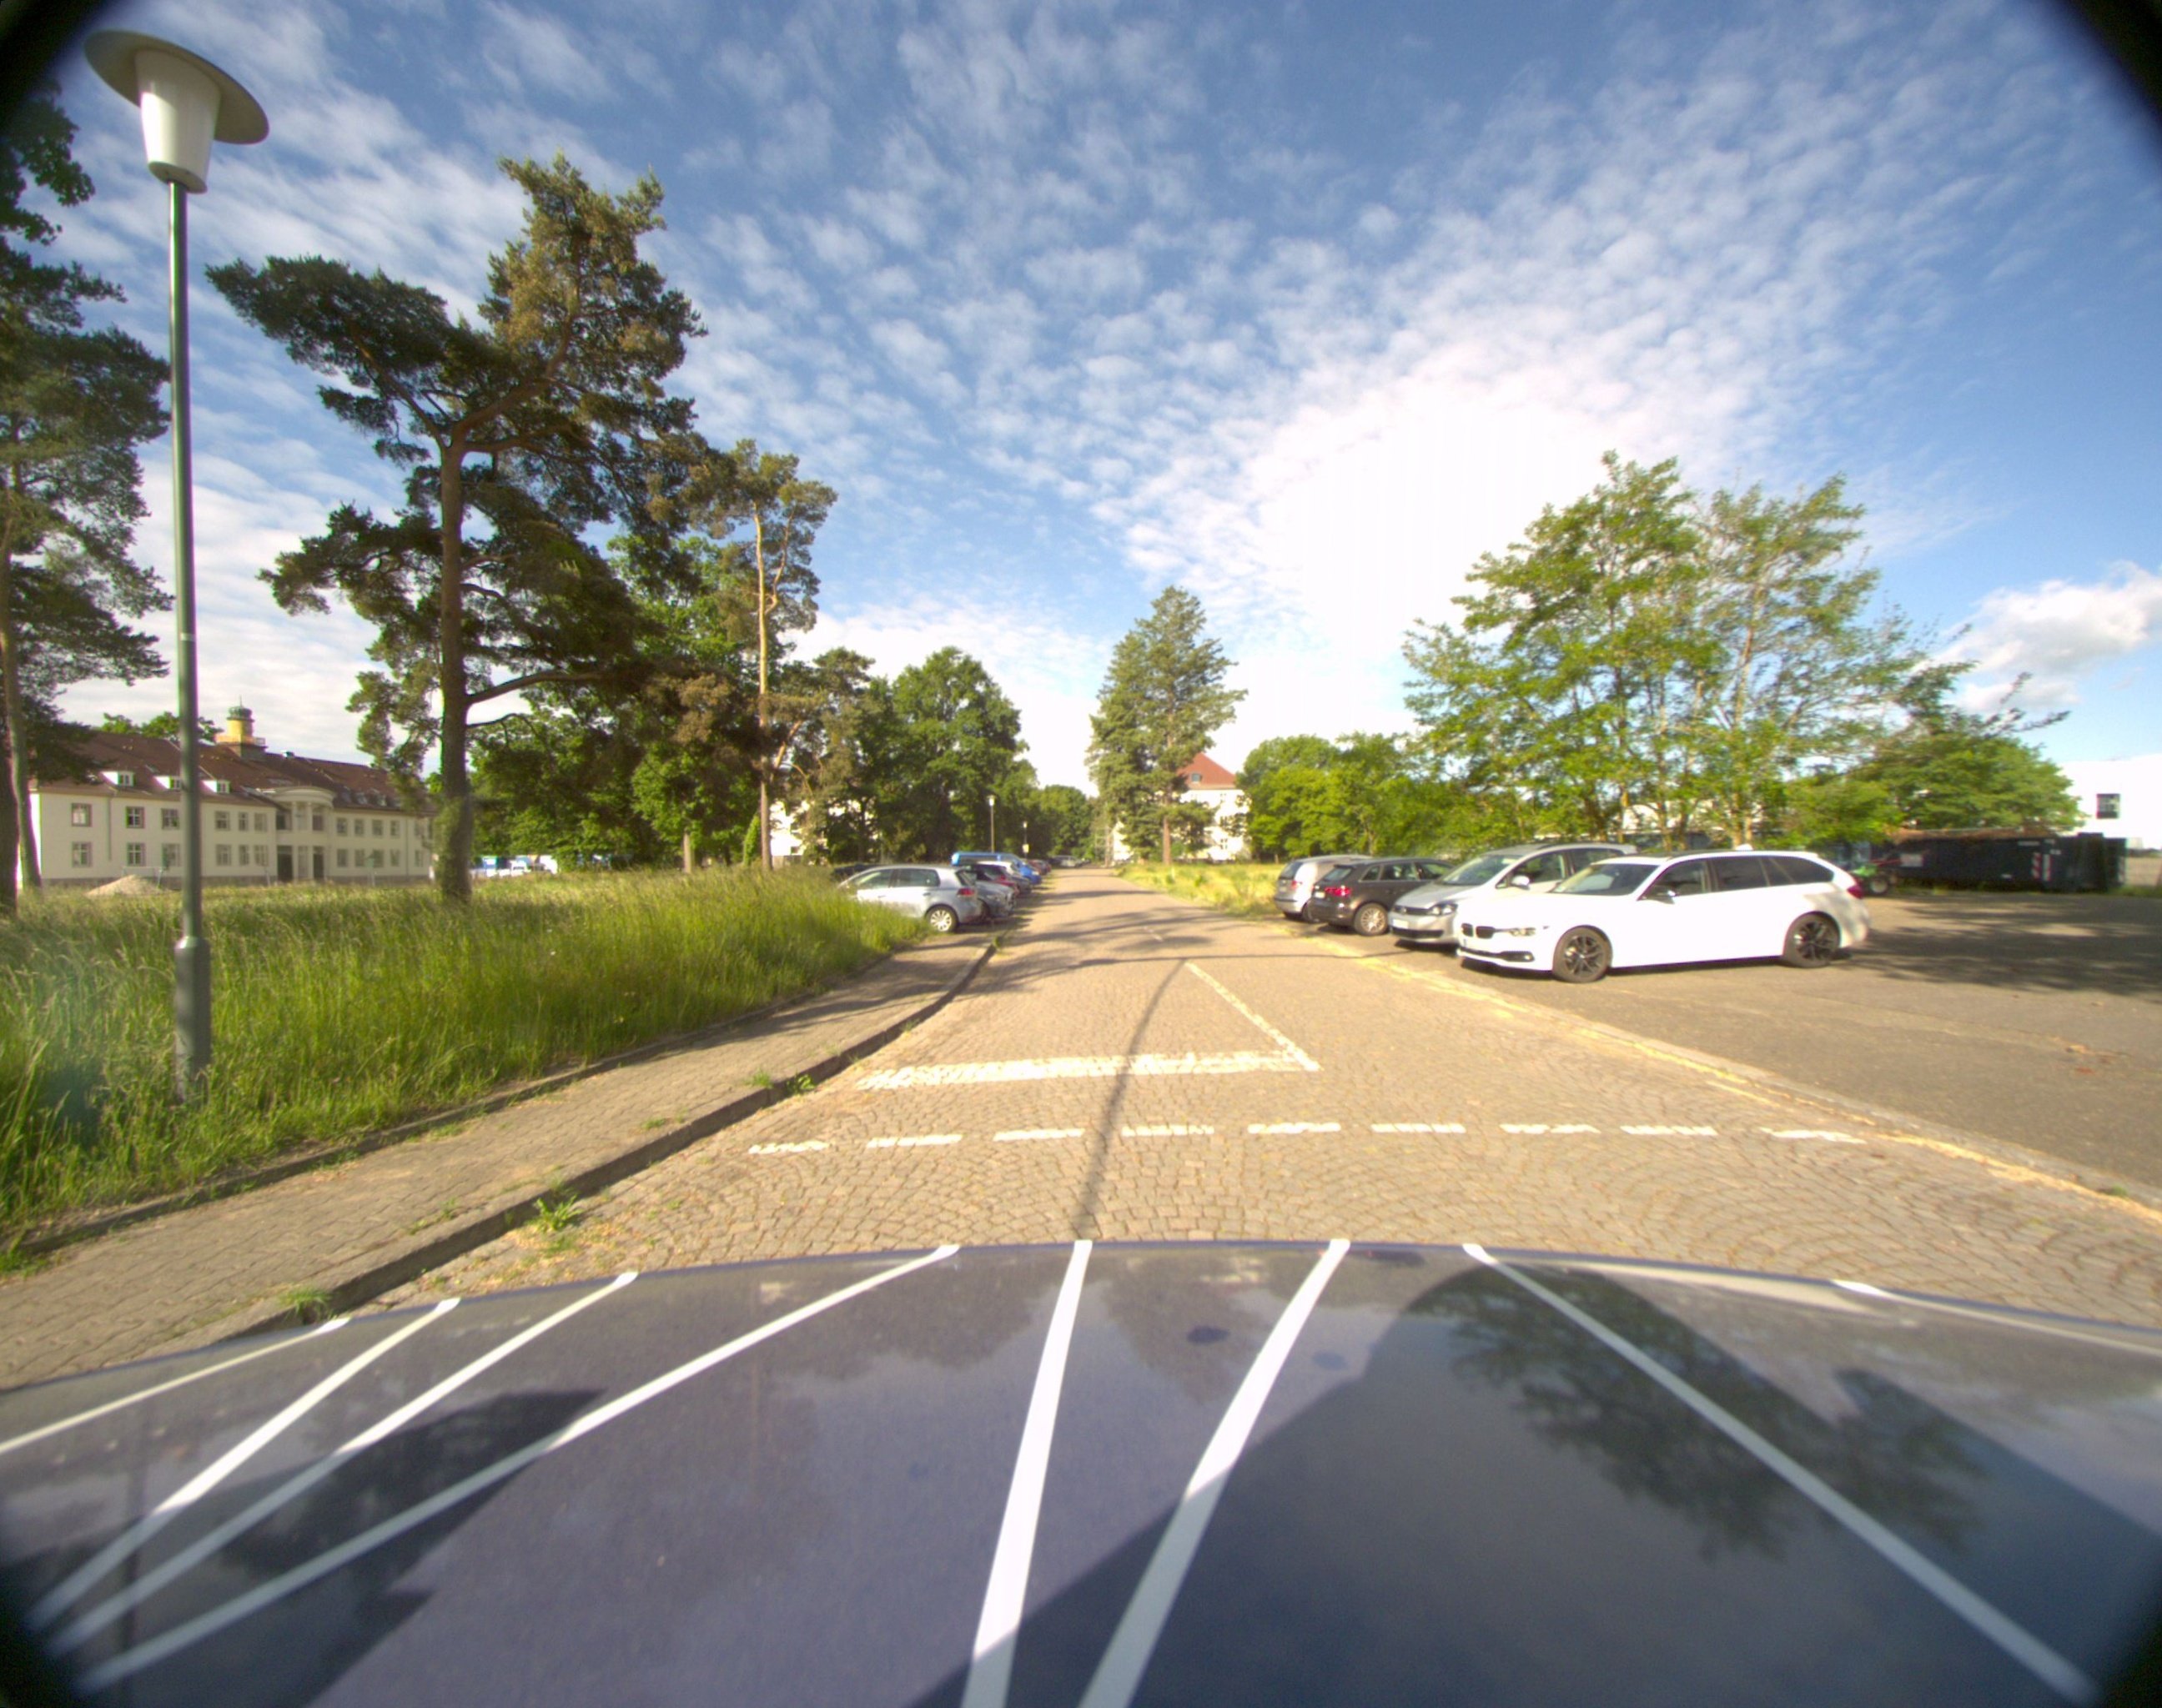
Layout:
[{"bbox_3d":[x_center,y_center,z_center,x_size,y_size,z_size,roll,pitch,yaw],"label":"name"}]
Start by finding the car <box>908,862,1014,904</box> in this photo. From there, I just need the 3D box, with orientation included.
[{"bbox_3d":[-4.523,1.078,28.941,3.779,1.482,1.549,-1,0,-1],"label":"car"}]

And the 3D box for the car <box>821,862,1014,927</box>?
[{"bbox_3d":[-3.969,0.985,19.065,4.507,1.508,1.825,0,0,-4],"label":"car"}]

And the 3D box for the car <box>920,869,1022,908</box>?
[{"bbox_3d":[-3.766,1.180,26.365,3.357,1.248,1.419,-1,0,-1],"label":"car"}]

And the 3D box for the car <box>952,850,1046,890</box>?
[{"bbox_3d":[-4.277,0.810,40.226,4.726,2.002,2.000,-1,0,1],"label":"car"}]

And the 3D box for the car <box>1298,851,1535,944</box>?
[{"bbox_3d":[6.420,0.792,14.801,3.807,1.462,1.687,-4,1,-1],"label":"car"}]

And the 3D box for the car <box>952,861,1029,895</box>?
[{"bbox_3d":[-4.110,1.071,34.842,3.264,1.482,1.449,-1,0,2],"label":"car"}]

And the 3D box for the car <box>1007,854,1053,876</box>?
[{"bbox_3d":[-4.656,0.986,69.707,3.996,1.731,1.756,-4,1,2],"label":"car"}]

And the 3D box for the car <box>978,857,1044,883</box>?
[{"bbox_3d":[-4.482,1.021,49.161,3.996,1.630,1.757,-1,0,2],"label":"car"}]

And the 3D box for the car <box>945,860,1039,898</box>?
[{"bbox_3d":[-3.723,1.042,31.993,3.621,1.482,1.509,-1,0,9],"label":"car"}]

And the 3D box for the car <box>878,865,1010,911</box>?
[{"bbox_3d":[-4.268,1.054,24.079,3.918,1.385,1.660,0,0,-1],"label":"car"}]

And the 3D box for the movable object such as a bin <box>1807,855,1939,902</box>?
[{"bbox_3d":[19.516,0.582,18.754,2.285,1.101,0.997,-1,0,-3],"label":"movable object such as a bin"}]

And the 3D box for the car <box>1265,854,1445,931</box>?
[{"bbox_3d":[6.230,0.839,17.500,3.474,1.462,1.636,-4,1,-3],"label":"car"}]

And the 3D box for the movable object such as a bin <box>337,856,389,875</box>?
[{"bbox_3d":[-90.987,1.456,96.388,1.999,2.309,4.985,-1,0,-4],"label":"movable object such as a bin"}]

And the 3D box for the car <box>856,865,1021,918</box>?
[{"bbox_3d":[-3.997,1.053,21.856,4.423,1.394,1.826,1,0,-2],"label":"car"}]

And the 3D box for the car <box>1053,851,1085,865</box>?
[{"bbox_3d":[-1.881,0.669,123.190,5.068,2.251,2.000,-1,0,-1],"label":"car"}]

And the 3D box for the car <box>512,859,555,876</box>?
[{"bbox_3d":[-68.889,1.658,95.686,1.998,2.002,4.772,-1,0,0],"label":"car"}]

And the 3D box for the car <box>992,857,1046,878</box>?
[{"bbox_3d":[-4.836,1.035,59.517,3.996,1.509,1.757,-1,0,2],"label":"car"}]

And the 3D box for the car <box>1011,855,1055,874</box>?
[{"bbox_3d":[-4.684,1.022,74.416,3.996,1.605,1.757,-4,1,4],"label":"car"}]

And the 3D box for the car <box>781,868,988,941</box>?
[{"bbox_3d":[-4.127,1.046,16.487,4.026,1.452,1.871,0,0,-1],"label":"car"}]

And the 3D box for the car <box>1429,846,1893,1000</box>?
[{"bbox_3d":[7.062,0.780,9.544,4.553,1.459,1.752,-3,0,-4],"label":"car"}]

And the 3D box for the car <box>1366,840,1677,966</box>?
[{"bbox_3d":[6.884,0.712,12.108,3.955,1.616,1.721,-4,1,-5],"label":"car"}]
